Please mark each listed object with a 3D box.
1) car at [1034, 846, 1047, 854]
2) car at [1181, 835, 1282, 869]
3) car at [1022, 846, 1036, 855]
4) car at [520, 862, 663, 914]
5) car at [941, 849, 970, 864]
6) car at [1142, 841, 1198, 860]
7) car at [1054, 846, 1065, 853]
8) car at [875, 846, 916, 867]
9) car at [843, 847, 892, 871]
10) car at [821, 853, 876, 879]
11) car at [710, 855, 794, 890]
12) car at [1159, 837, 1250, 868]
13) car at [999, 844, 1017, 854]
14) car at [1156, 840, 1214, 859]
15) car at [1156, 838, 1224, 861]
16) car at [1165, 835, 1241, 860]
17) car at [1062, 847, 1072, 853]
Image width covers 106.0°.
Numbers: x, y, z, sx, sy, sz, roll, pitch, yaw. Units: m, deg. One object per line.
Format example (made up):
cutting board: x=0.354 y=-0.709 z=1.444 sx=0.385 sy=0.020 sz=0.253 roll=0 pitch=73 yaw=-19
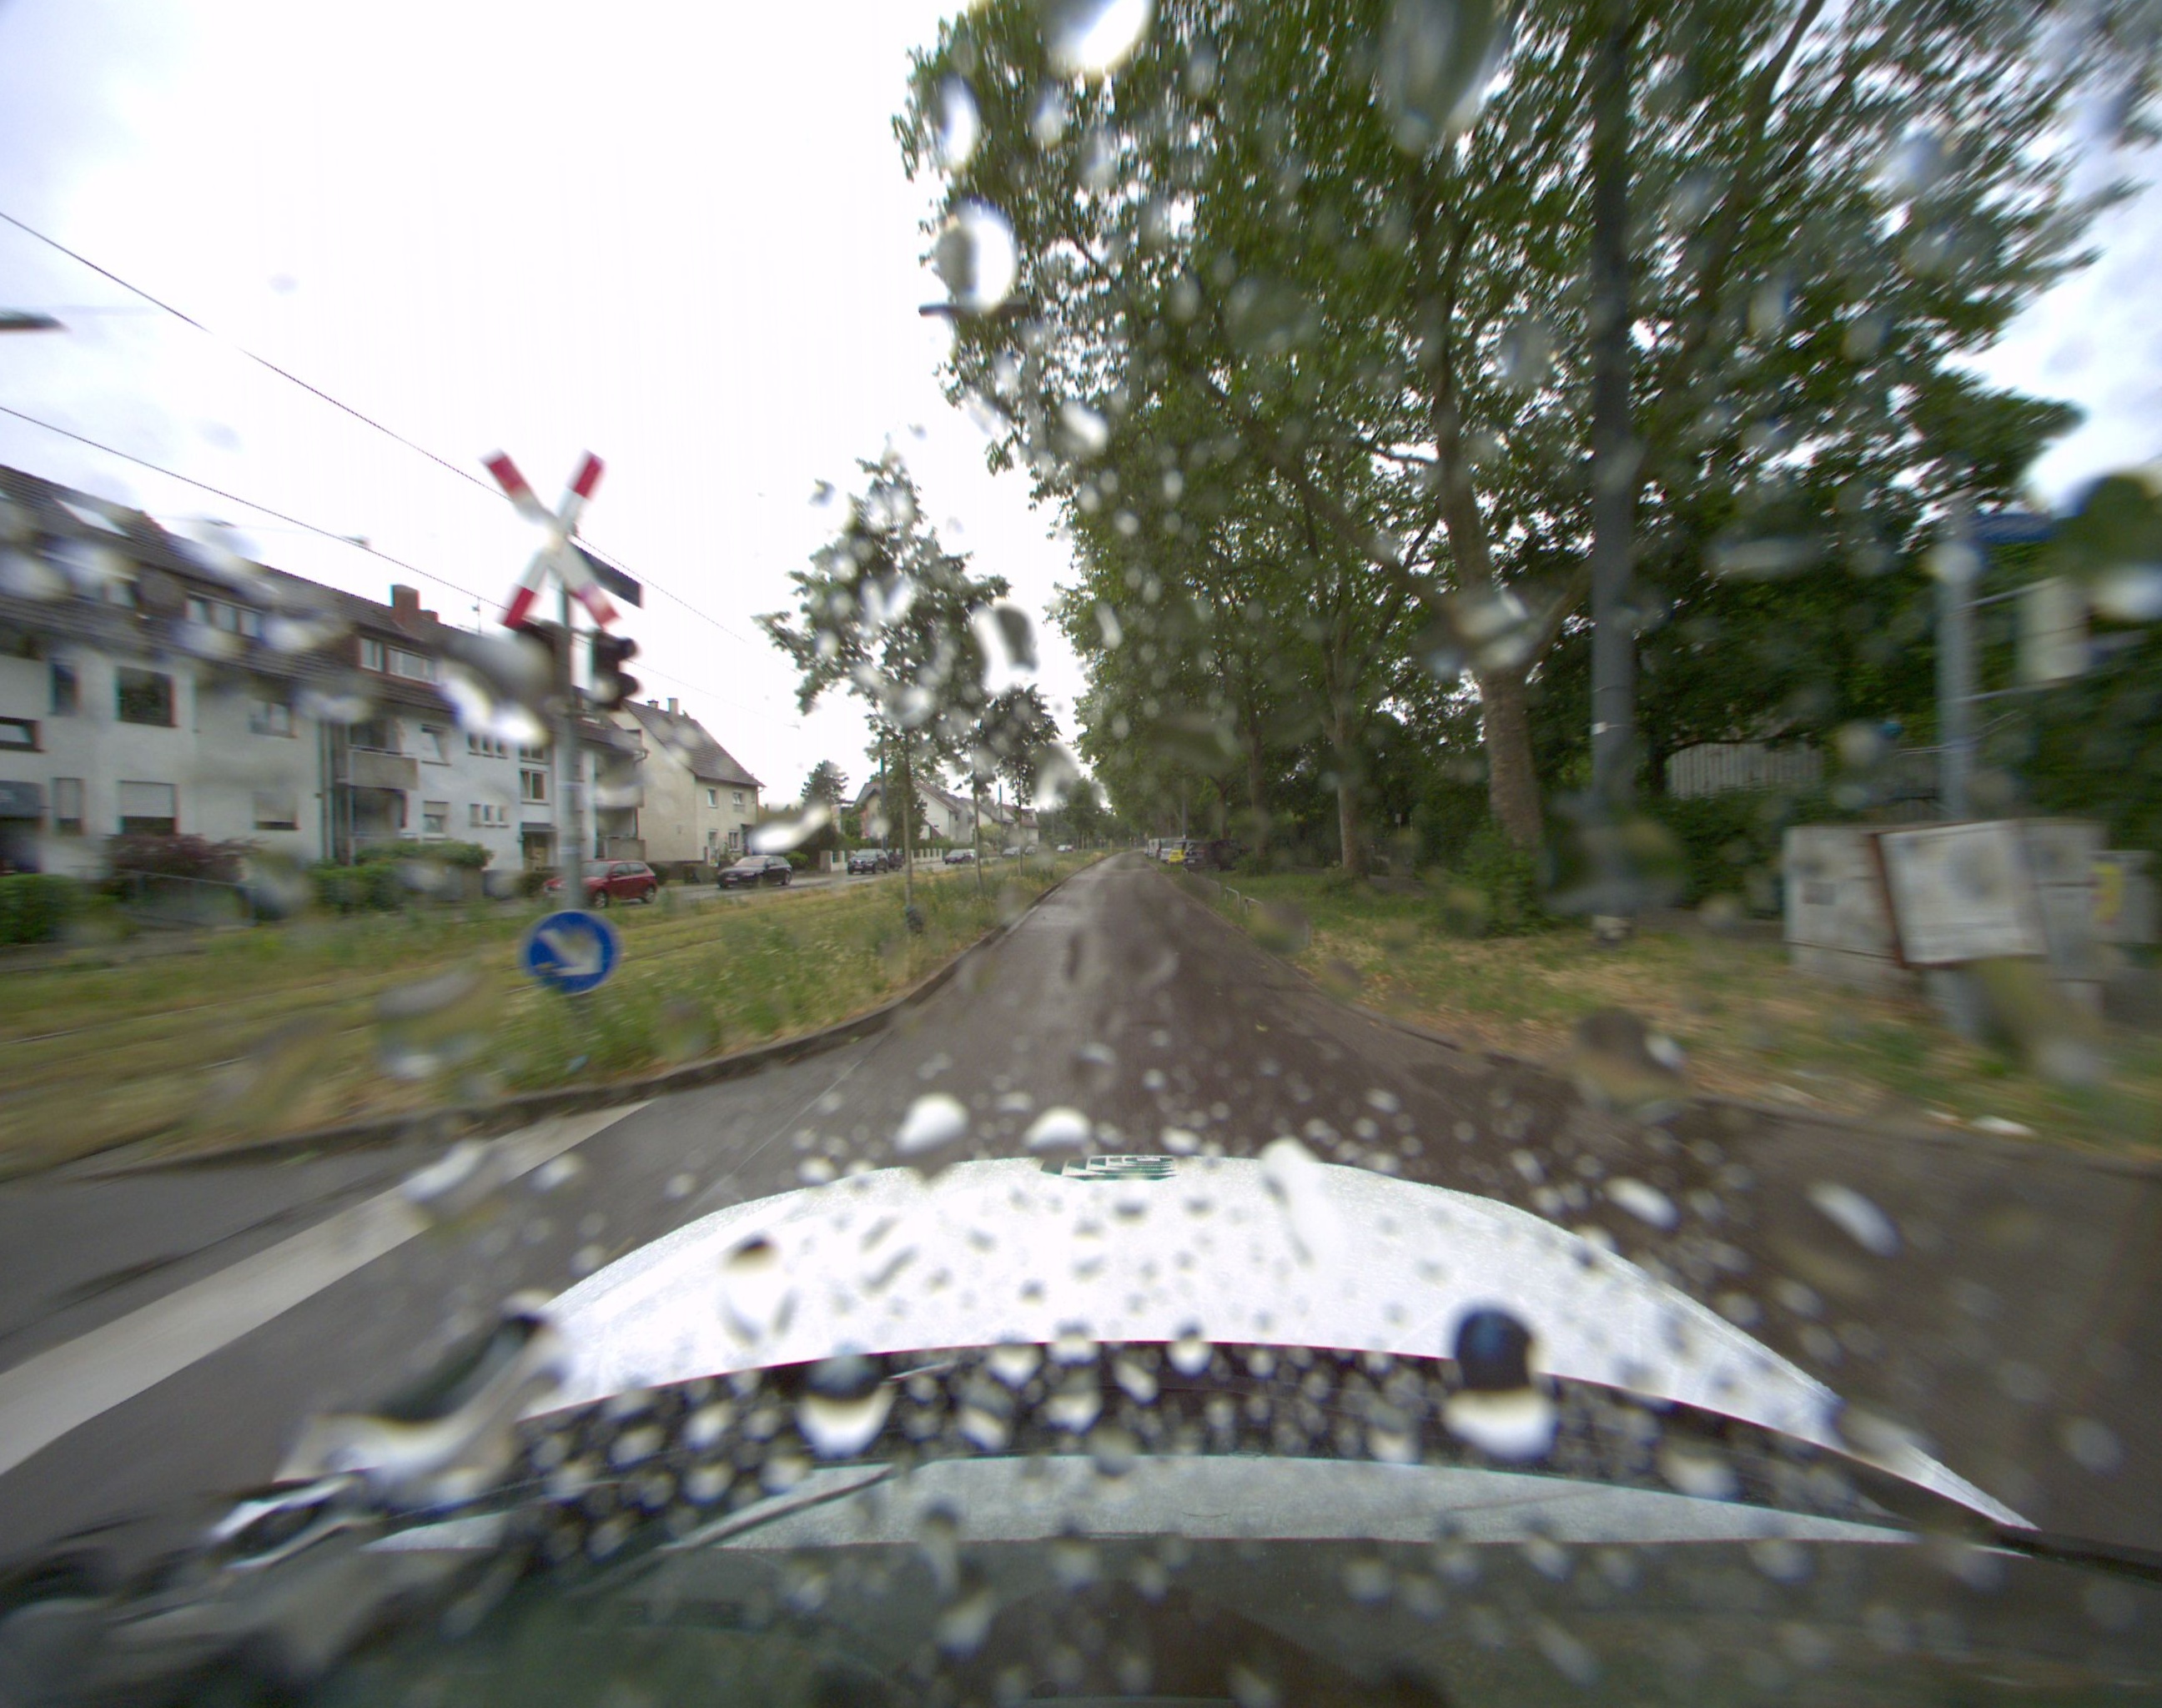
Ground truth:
car: x=-7.450 y=-0.689 z=148.955 sx=1.920 sy=1.486 sz=4.004 roll=0 pitch=0 yaw=4
car: x=6.647 y=-0.096 z=36.150 sx=3.992 sy=1.453 sz=1.990 roll=0 pitch=0 yaw=-14
car: x=-8.753 y=-0.648 z=136.919 sx=1.920 sy=1.486 sz=4.004 roll=0 pitch=0 yaw=4
car: x=-15.383 y=1.026 z=25.861 sx=1.920 sy=1.486 sz=4.004 roll=0 pitch=0 yaw=4
car: x=-12.349 y=0.247 z=80.338 sx=1.920 sy=1.486 sz=4.004 roll=0 pitch=0 yaw=4
car: x=7.081 y=-0.264 z=65.072 sx=3.992 sy=1.453 sz=1.990 roll=0 pitch=0 yaw=-14
car: x=-4.681 y=-0.989 z=179.020 sx=1.920 sy=1.486 sz=4.004 roll=0 pitch=0 yaw=4
car: x=-13.694 y=0.186 z=60.285 sx=1.920 sy=1.486 sz=4.004 roll=0 pitch=0 yaw=4
car: x=-14.029 y=0.325 z=53.646 sx=1.920 sy=1.486 sz=4.004 roll=0 pitch=0 yaw=4
car: x=-14.030 y=0.719 z=49.365 sx=1.920 sy=1.486 sz=4.004 roll=0 pitch=0 yaw=4
car: x=-14.745 y=0.789 z=36.752 sx=1.920 sy=1.486 sz=4.004 roll=0 pitch=0 yaw=4
car: x=6.019 y=-0.081 z=39.886 sx=3.992 sy=1.453 sz=1.990 roll=0 pitch=0 yaw=-14
car: x=-10.229 y=-0.687 z=114.758 sx=1.920 sy=1.486 sz=4.004 roll=0 pitch=0 yaw=4
car: x=7.898 y=-0.342 z=62.115 sx=3.992 sy=1.453 sz=1.990 roll=0 pitch=0 yaw=-14
car: x=7.186 y=-0.316 z=53.669 sx=3.992 sy=1.453 sz=1.990 roll=0 pitch=0 yaw=-14
car: x=7.148 y=-0.376 z=47.889 sx=3.992 sy=1.453 sz=1.990 roll=0 pitch=0 yaw=-14
car: x=-3.361 y=-0.983 z=192.961 sx=1.920 sy=1.486 sz=4.004 roll=0 pitch=0 yaw=4
